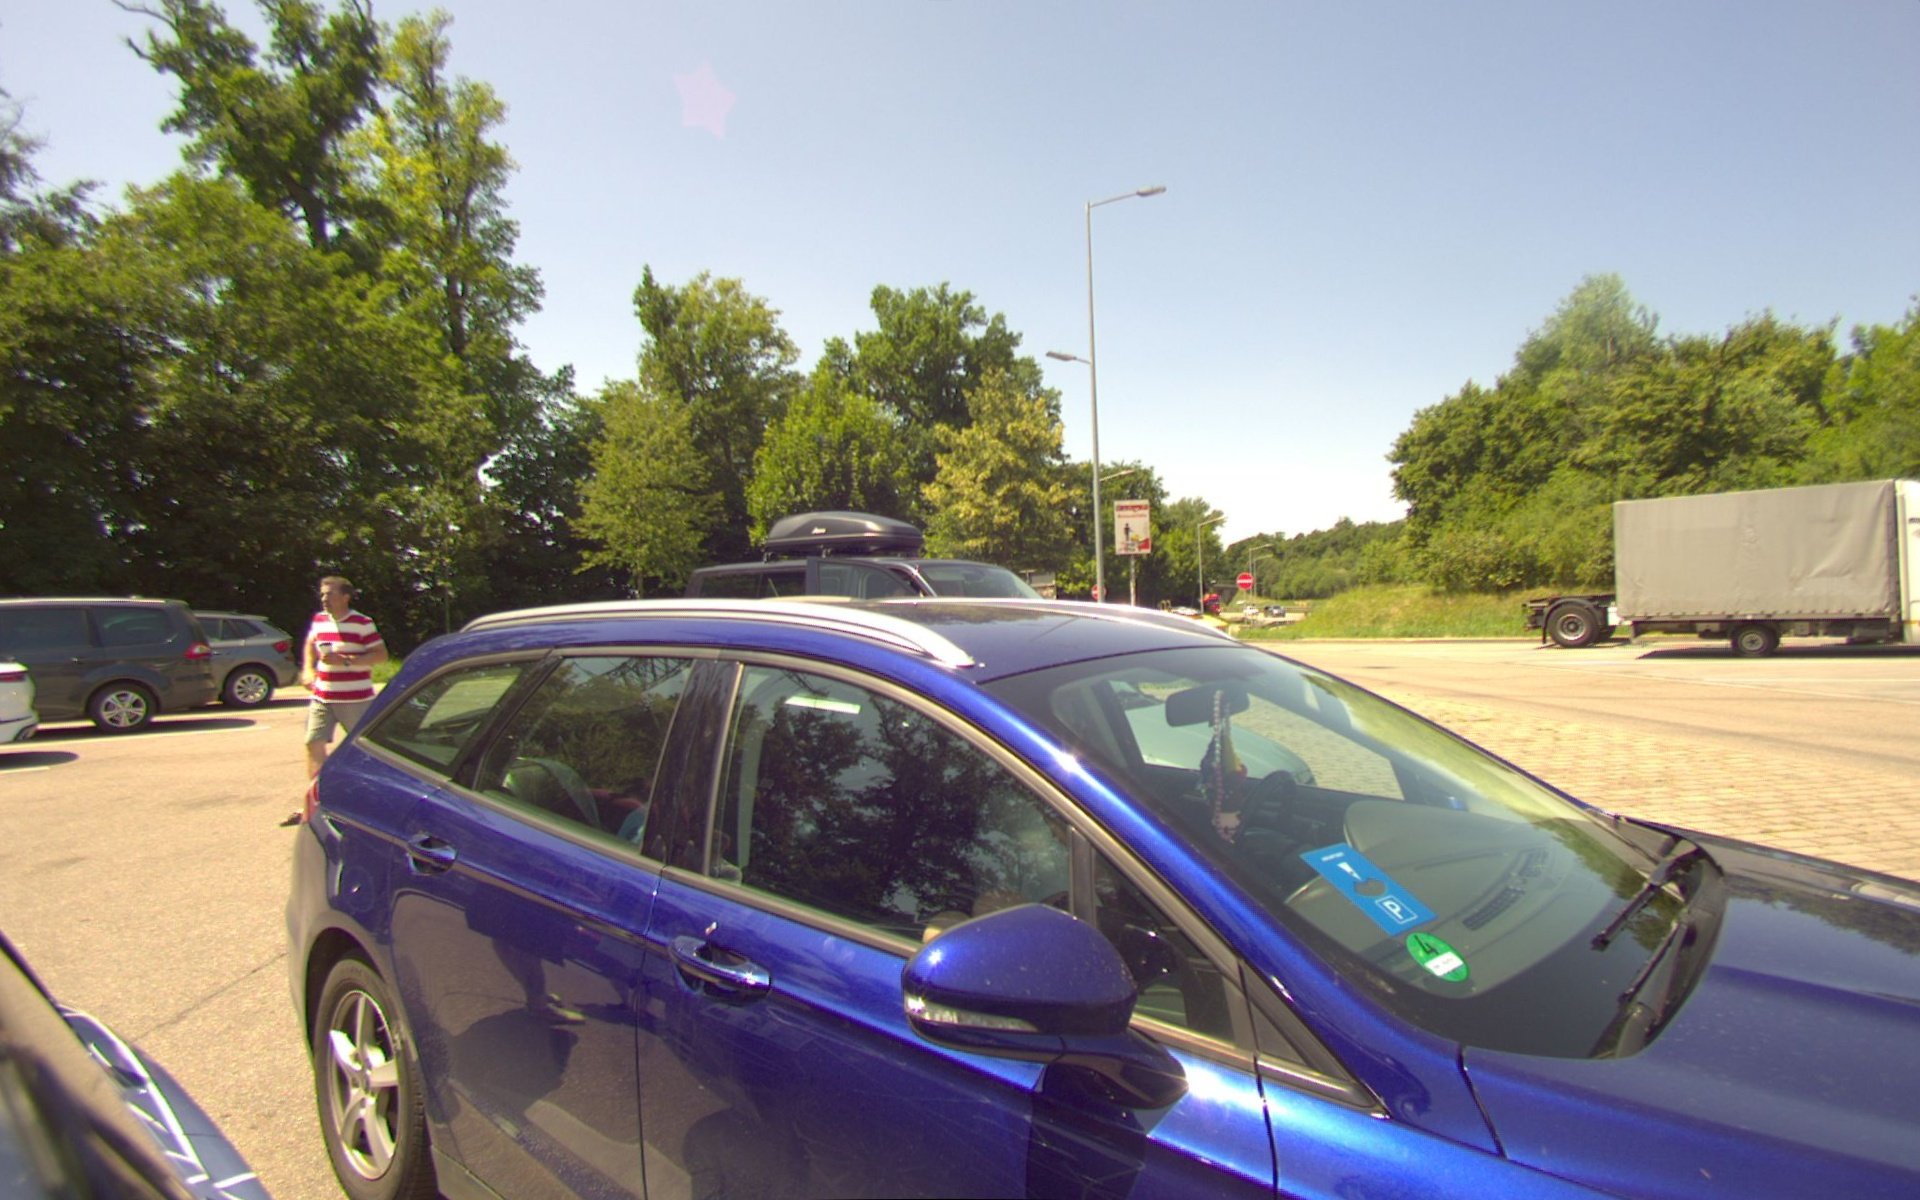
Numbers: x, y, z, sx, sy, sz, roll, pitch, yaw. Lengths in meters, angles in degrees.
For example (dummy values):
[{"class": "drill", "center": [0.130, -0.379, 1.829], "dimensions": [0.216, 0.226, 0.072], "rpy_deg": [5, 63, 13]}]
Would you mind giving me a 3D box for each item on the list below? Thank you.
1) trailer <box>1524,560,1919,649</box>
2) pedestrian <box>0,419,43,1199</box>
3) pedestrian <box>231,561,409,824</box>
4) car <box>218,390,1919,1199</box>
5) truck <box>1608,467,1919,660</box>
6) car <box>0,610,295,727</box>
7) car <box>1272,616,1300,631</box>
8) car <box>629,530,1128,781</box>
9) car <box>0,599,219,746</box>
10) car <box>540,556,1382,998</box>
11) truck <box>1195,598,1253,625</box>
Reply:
[{"class": "trailer", "center": [17.705, 0.154, 23.107], "dimensions": [8.098, 1.638, 2.187], "rpy_deg": [-4, -1, 41]}, {"class": "pedestrian", "center": [-2.730, 0.520, 2.242], "dimensions": [0.905, 1.919, 0.816], "rpy_deg": [-1, 0, -33]}, {"class": "pedestrian", "center": [-4.545, 0.628, 7.240], "dimensions": [0.746, 1.767, 0.784], "rpy_deg": [-1, 0, 6]}, {"class": "car", "center": [0.231, 0.633, 2.073], "dimensions": [4.569, 1.482, 1.735], "rpy_deg": [-3, 0, 40]}, {"class": "truck", "center": [16.780, -0.651, 19.009], "dimensions": [7.274, 3.269, 2.678], "rpy_deg": [-4, -1, 42]}, {"class": "car", "center": [-12.625, 0.970, 15.664], "dimensions": [3.767, 1.572, 1.654], "rpy_deg": [-1, 0, -38]}, {"class": "car", "center": [49.517, 3.556, 153.821], "dimensions": [1.966, 2.029, 4.012], "rpy_deg": [-1, 0, -17]}, {"class": "car", "center": [-0.894, 0.497, 9.658], "dimensions": [4.558, 1.912, 1.740], "rpy_deg": [-3, 0, 32]}, {"class": "car", "center": [-11.633, 0.866, 12.657], "dimensions": [3.767, 1.708, 1.654], "rpy_deg": [-1, 0, -38]}, {"class": "car", "center": [-0.324, 0.668, 5.610], "dimensions": [4.569, 1.517, 1.735], "rpy_deg": [-3, 0, 40]}, {"class": "truck", "center": [48.333, 2.063, 185.947], "dimensions": [2.711, 4.589, 14.110], "rpy_deg": [-1, 0, -20]}]
